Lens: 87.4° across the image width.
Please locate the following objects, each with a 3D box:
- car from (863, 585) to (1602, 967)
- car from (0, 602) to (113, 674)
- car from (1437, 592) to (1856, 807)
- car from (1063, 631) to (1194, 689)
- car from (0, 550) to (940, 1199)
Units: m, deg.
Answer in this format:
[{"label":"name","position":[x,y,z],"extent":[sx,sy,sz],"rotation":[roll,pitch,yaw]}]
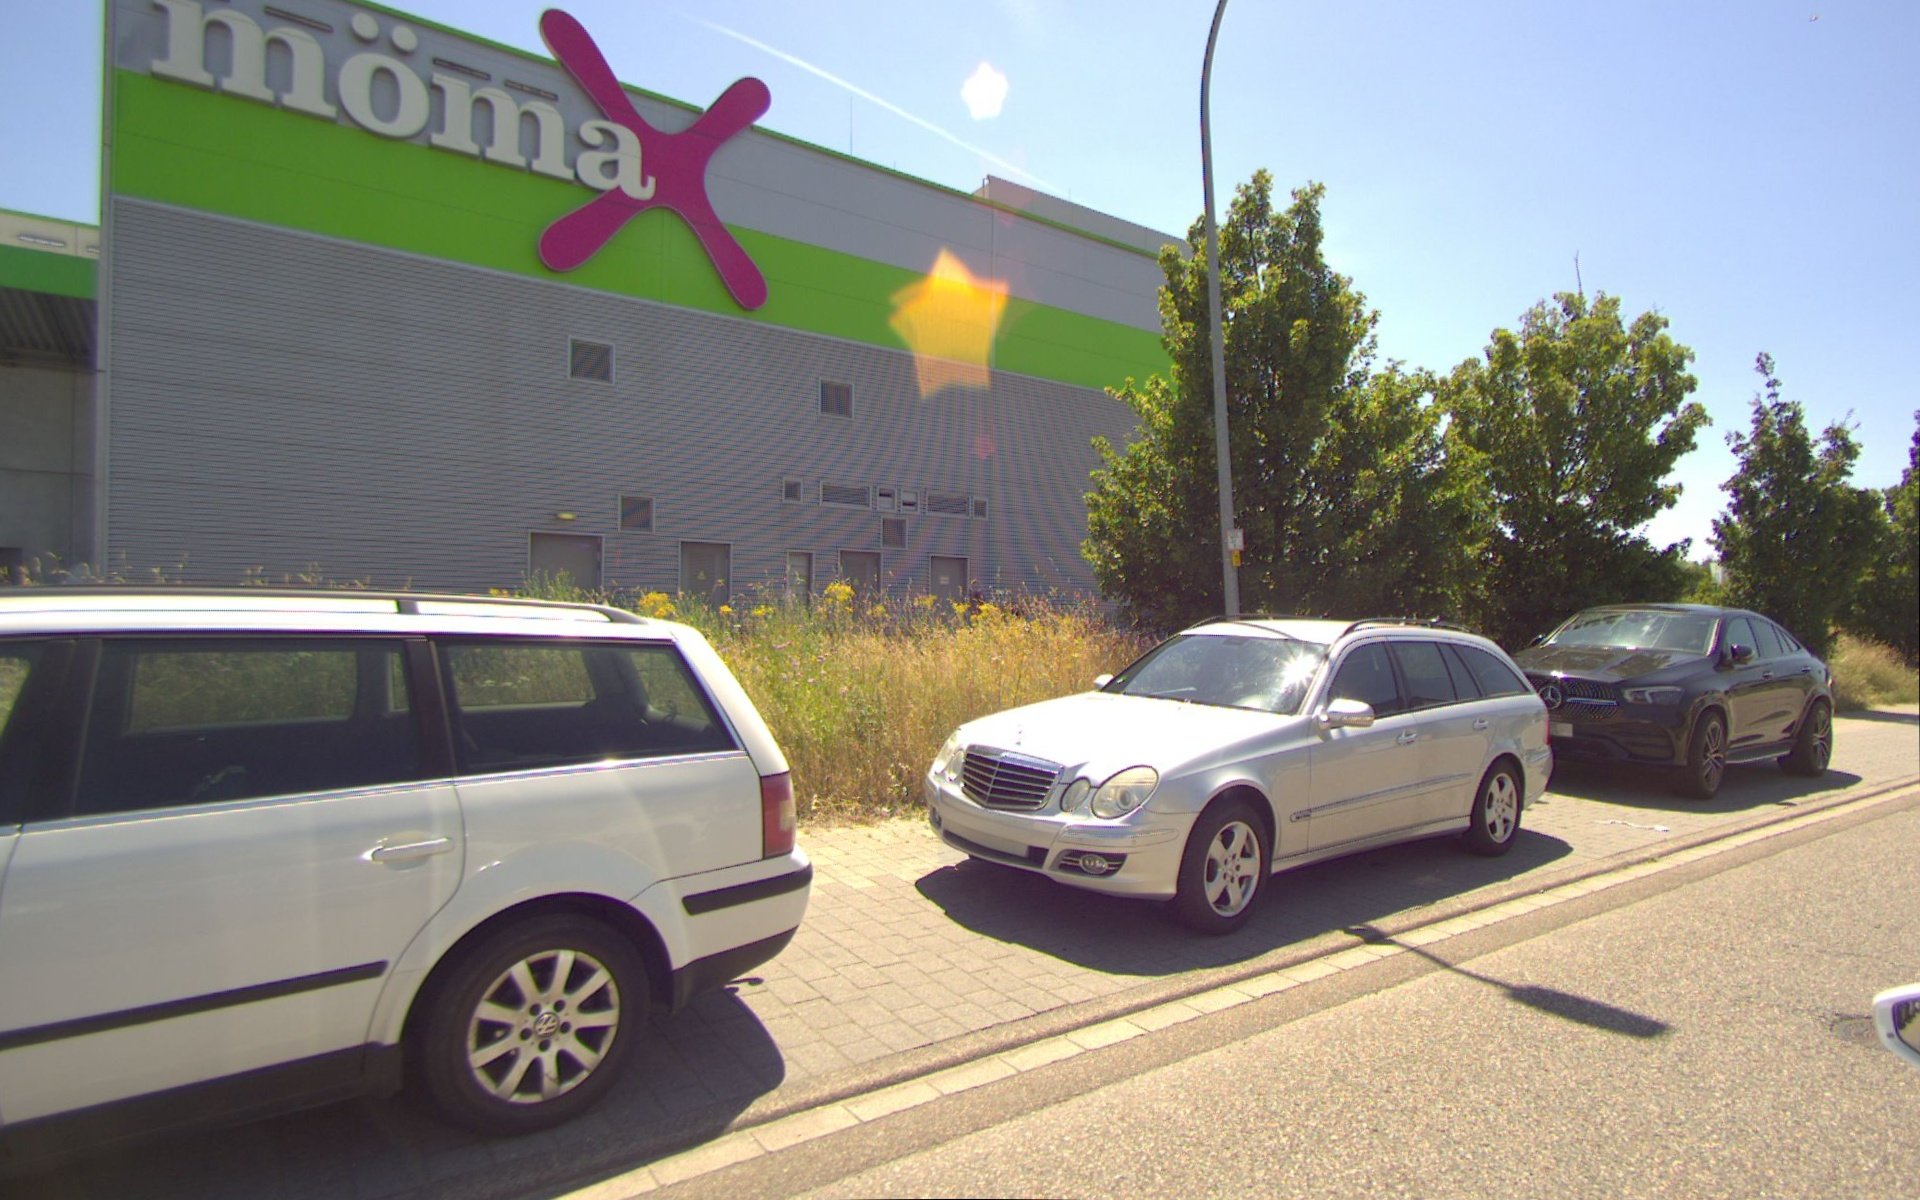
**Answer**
[{"label":"car","position":[2.045,0.756,6.402],"extent":[5.121,1.539,1.837],"rotation":[1,1,-38]},{"label":"car","position":[-20.132,0.787,22.179],"extent":[1.839,1.467,3.729],"rotation":[1,-1,-36]},{"label":"car","position":[7.271,0.855,10.450],"extent":[4.957,1.736,1.978],"rotation":[1,1,-35]},{"label":"car","position":[4.280,1.490,25.400],"extent":[3.206,1.369,1.422],"rotation":[2,-2,-35]},{"label":"car","position":[-2.553,0.648,2.760],"extent":[4.861,1.539,1.837],"rotation":[1,1,-38]}]
